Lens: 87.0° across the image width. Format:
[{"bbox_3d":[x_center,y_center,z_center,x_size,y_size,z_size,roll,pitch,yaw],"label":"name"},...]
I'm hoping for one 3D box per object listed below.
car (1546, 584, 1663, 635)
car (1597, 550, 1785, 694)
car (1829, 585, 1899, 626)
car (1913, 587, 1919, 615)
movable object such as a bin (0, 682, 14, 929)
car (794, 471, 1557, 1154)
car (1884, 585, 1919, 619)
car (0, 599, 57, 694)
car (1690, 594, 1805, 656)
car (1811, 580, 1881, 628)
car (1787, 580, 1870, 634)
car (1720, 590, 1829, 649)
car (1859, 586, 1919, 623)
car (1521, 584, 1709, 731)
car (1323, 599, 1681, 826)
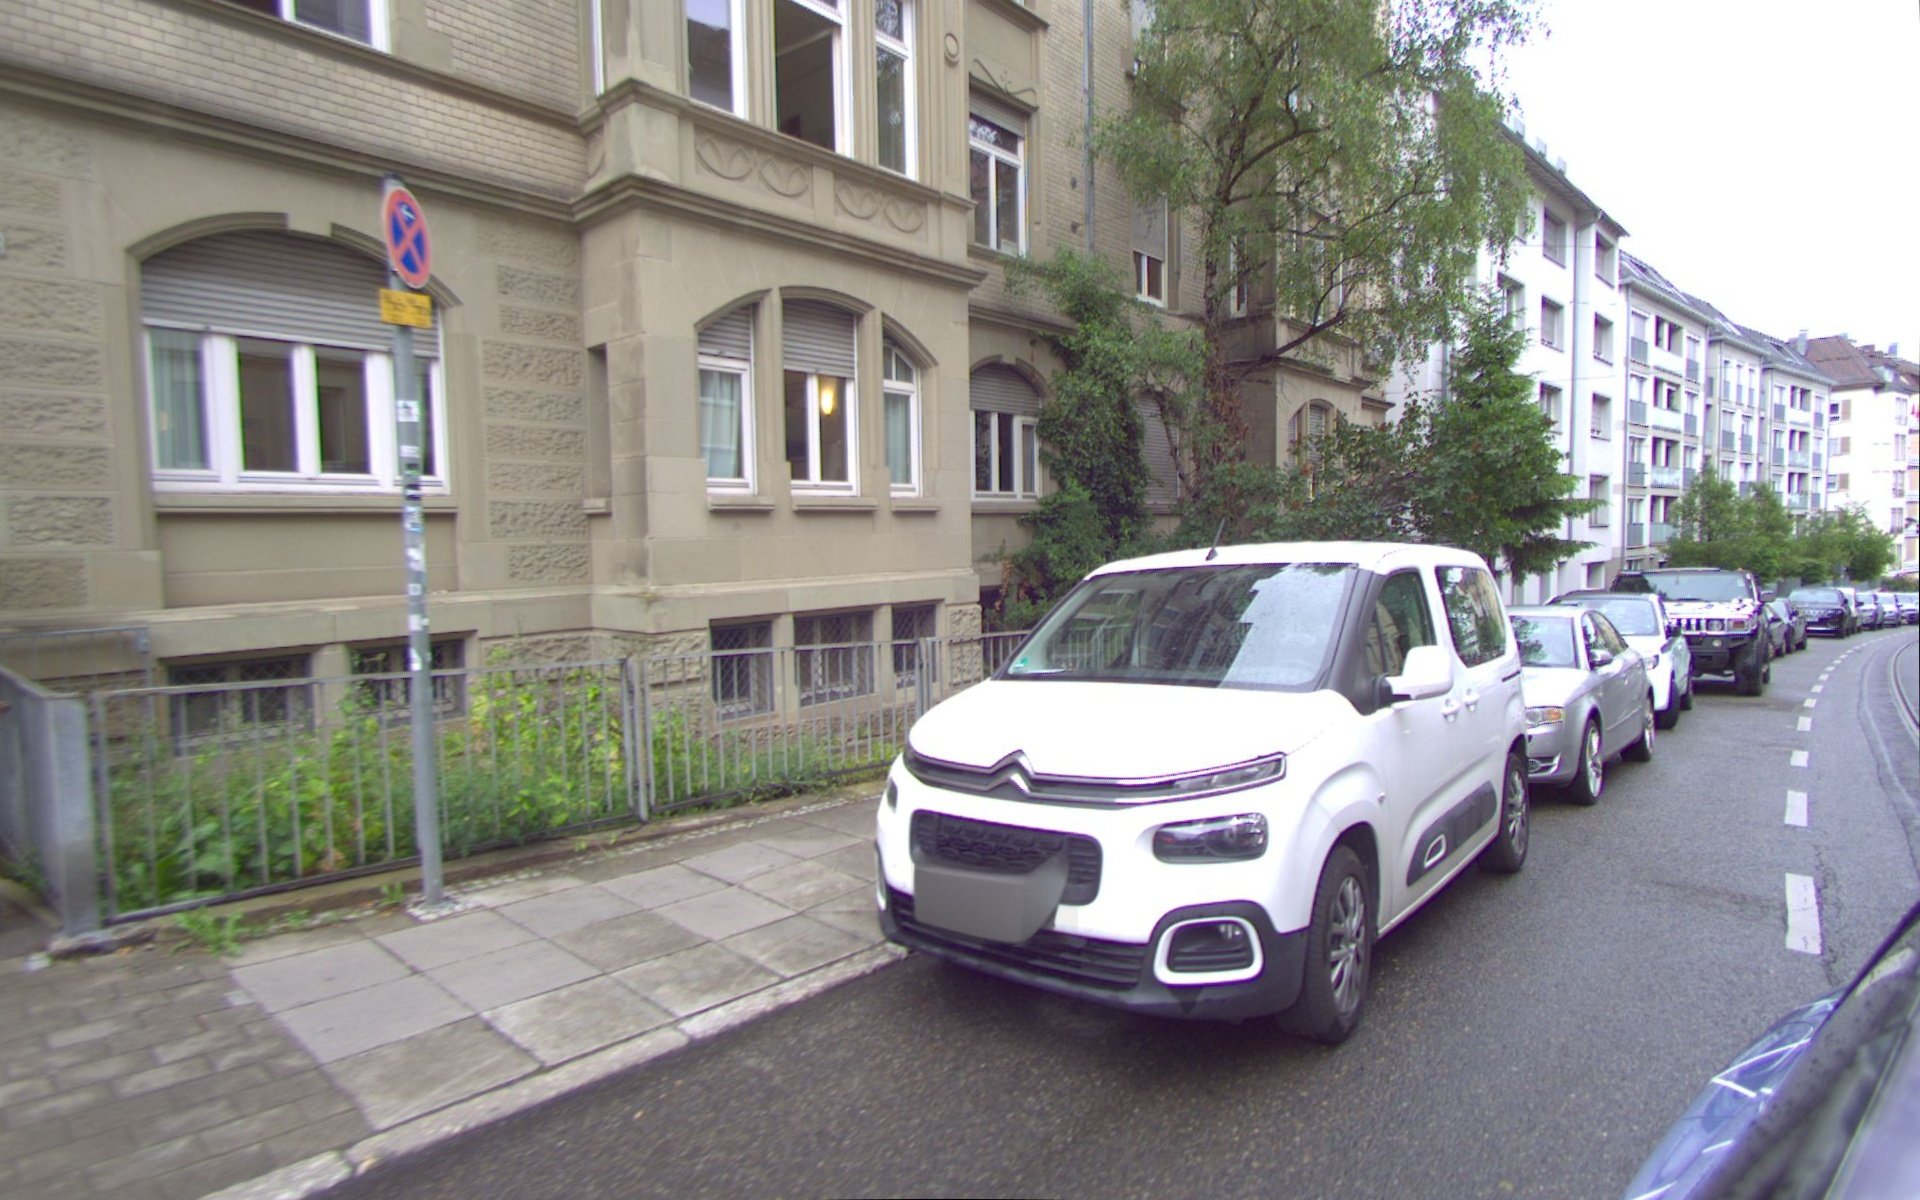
[{"bbox_3d":[19.688,0.265,30.882,4.078,1.445,1.816,0,0,-39],"label":"car"},{"bbox_3d":[12.415,0.297,17.019,2.126,2.039,5.272,-1,0,41],"label":"car"},{"bbox_3d":[40.105,0.184,44.866,4.607,1.676,1.835,-1,2,-42],"label":"car"},{"bbox_3d":[55.928,0.032,57.586,4.704,1.534,1.862,-1,2,-40],"label":"car"},{"bbox_3d":[-4.036,0.805,3.880,0.425,0.931,0.529,3,2,38],"label":"movable object such as a bin"},{"bbox_3d":[1.464,0.539,4.934,1.795,1.787,4.398,-1,0,40],"label":"car"},{"bbox_3d":[48.600,0.074,51.713,1.975,1.604,4.495,2,2,43],"label":"car"},{"bbox_3d":[-18.514,0.702,17.660,3.933,1.529,1.796,7,-1,-45],"label":"car"},{"bbox_3d":[18.974,0.544,24.341,3.818,1.355,1.680,0,1,-44],"label":"car"},{"bbox_3d":[35.786,0.138,40.840,4.397,1.817,1.780,-1,2,-44],"label":"car"},{"bbox_3d":[31.657,0.188,36.848,4.743,1.817,1.943,-1,1,-45],"label":"car"},{"bbox_3d":[22.240,0.466,27.565,4.535,1.455,1.795,-1,1,-44],"label":"car"},{"bbox_3d":[44.324,0.188,48.242,4.586,1.648,1.834,-1,2,-44],"label":"car"},{"bbox_3d":[8.293,0.602,12.688,1.558,1.565,3.533,-1,0,40],"label":"car"},{"bbox_3d":[4.877,0.726,8.757,1.747,1.418,4.411,-1,0,42],"label":"car"}]
